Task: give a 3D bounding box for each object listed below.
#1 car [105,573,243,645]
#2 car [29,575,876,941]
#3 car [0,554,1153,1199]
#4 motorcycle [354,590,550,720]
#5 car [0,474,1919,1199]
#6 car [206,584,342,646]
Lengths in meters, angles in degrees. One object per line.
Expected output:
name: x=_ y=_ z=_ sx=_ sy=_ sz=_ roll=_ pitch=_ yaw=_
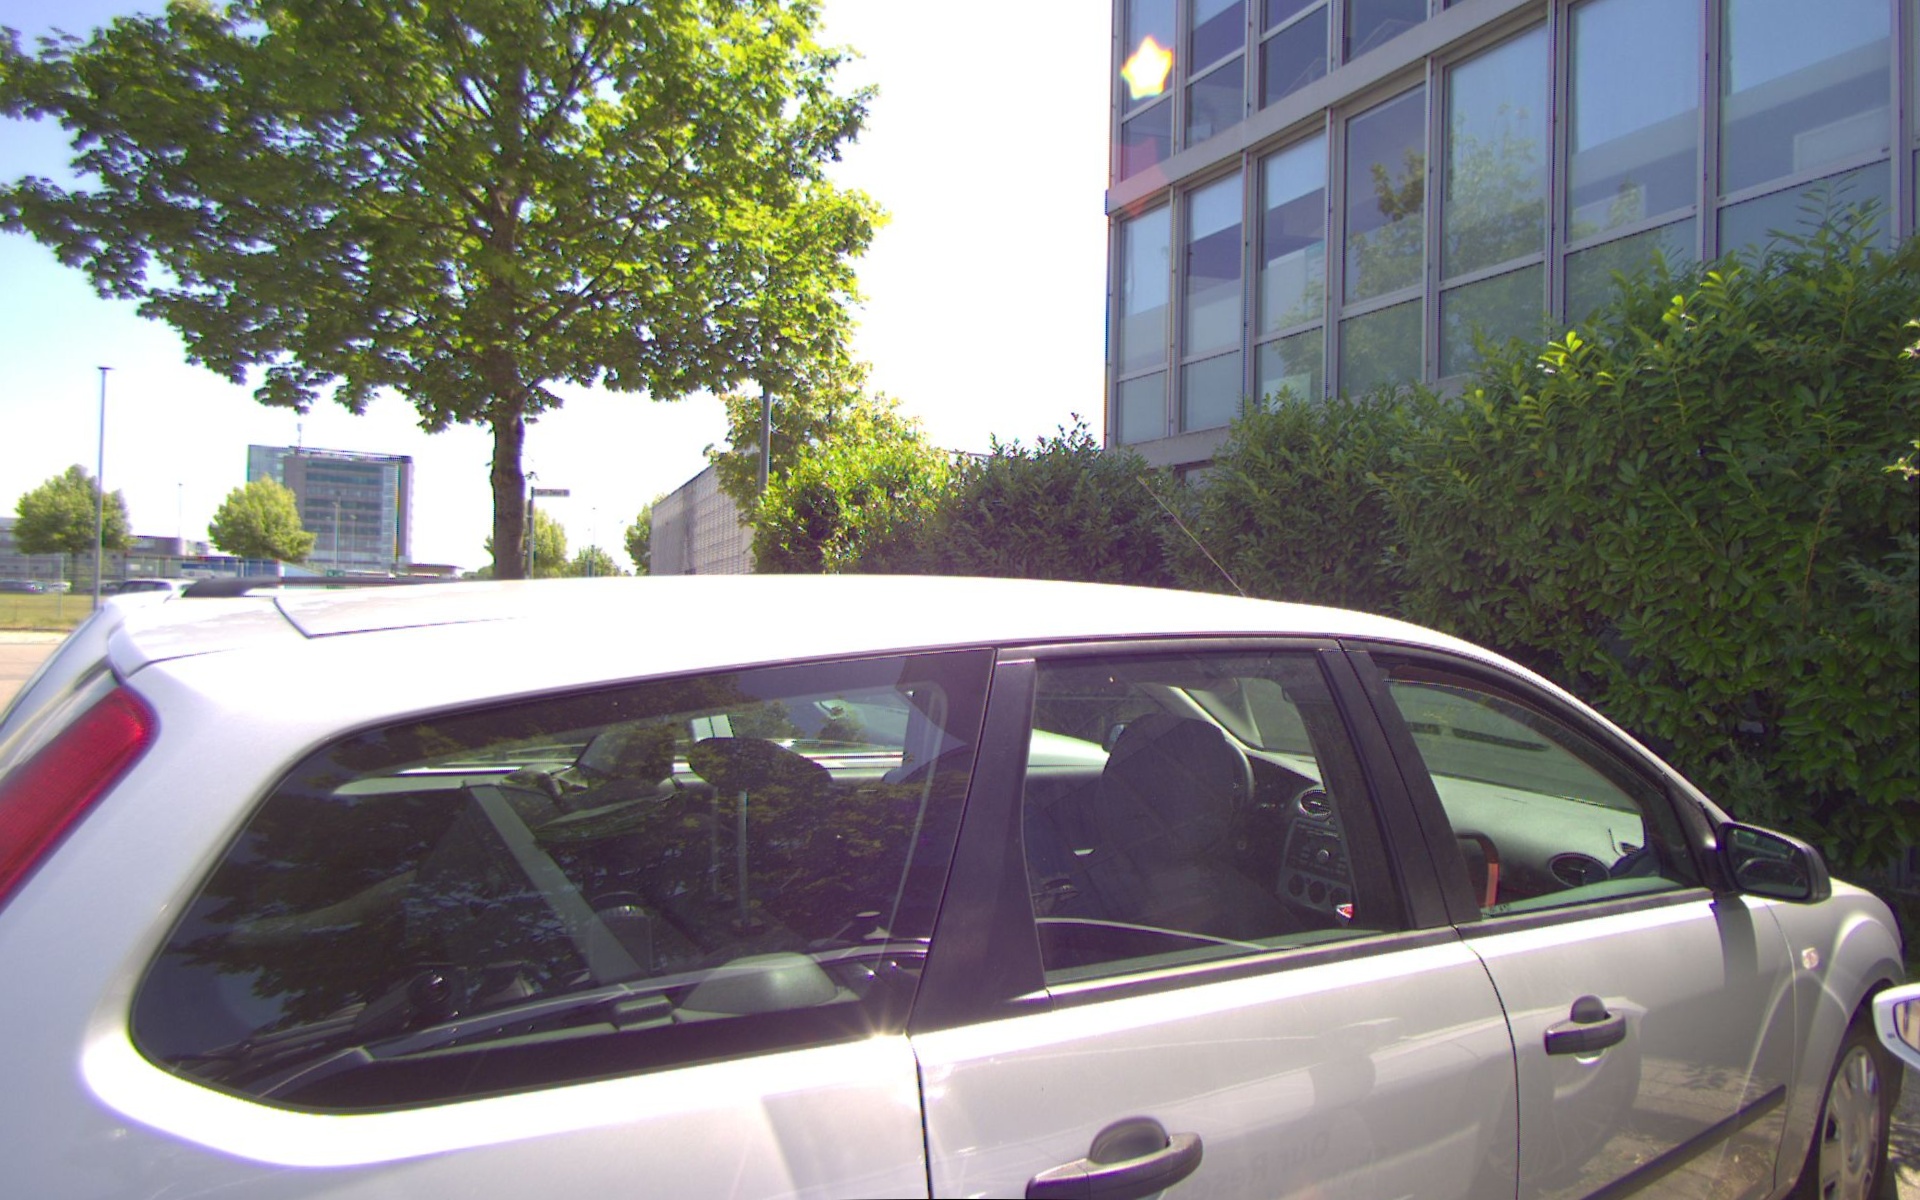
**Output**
car: x=-21.122 y=0.226 z=27.187 sx=1.745 sy=1.761 sz=3.982 roll=1 pitch=0 yaw=-20
car: x=-2.568 y=0.667 z=5.791 sx=3.851 sy=1.468 sz=1.637 roll=1 pitch=0 yaw=-34
car: x=-1.261 y=0.675 z=3.735 sx=3.851 sy=1.499 sz=1.637 roll=1 pitch=0 yaw=-34
motorcycle: x=-5.830 y=0.605 z=11.591 sx=1.969 sy=1.408 sz=0.480 roll=1 pitch=0 yaw=-34
car: x=0.389 y=0.708 z=2.117 sx=4.299 sy=1.499 sz=1.710 roll=1 pitch=0 yaw=-31
car: x=-18.701 y=0.395 z=27.602 sx=1.624 sy=1.542 sz=3.991 roll=1 pitch=0 yaw=-11
